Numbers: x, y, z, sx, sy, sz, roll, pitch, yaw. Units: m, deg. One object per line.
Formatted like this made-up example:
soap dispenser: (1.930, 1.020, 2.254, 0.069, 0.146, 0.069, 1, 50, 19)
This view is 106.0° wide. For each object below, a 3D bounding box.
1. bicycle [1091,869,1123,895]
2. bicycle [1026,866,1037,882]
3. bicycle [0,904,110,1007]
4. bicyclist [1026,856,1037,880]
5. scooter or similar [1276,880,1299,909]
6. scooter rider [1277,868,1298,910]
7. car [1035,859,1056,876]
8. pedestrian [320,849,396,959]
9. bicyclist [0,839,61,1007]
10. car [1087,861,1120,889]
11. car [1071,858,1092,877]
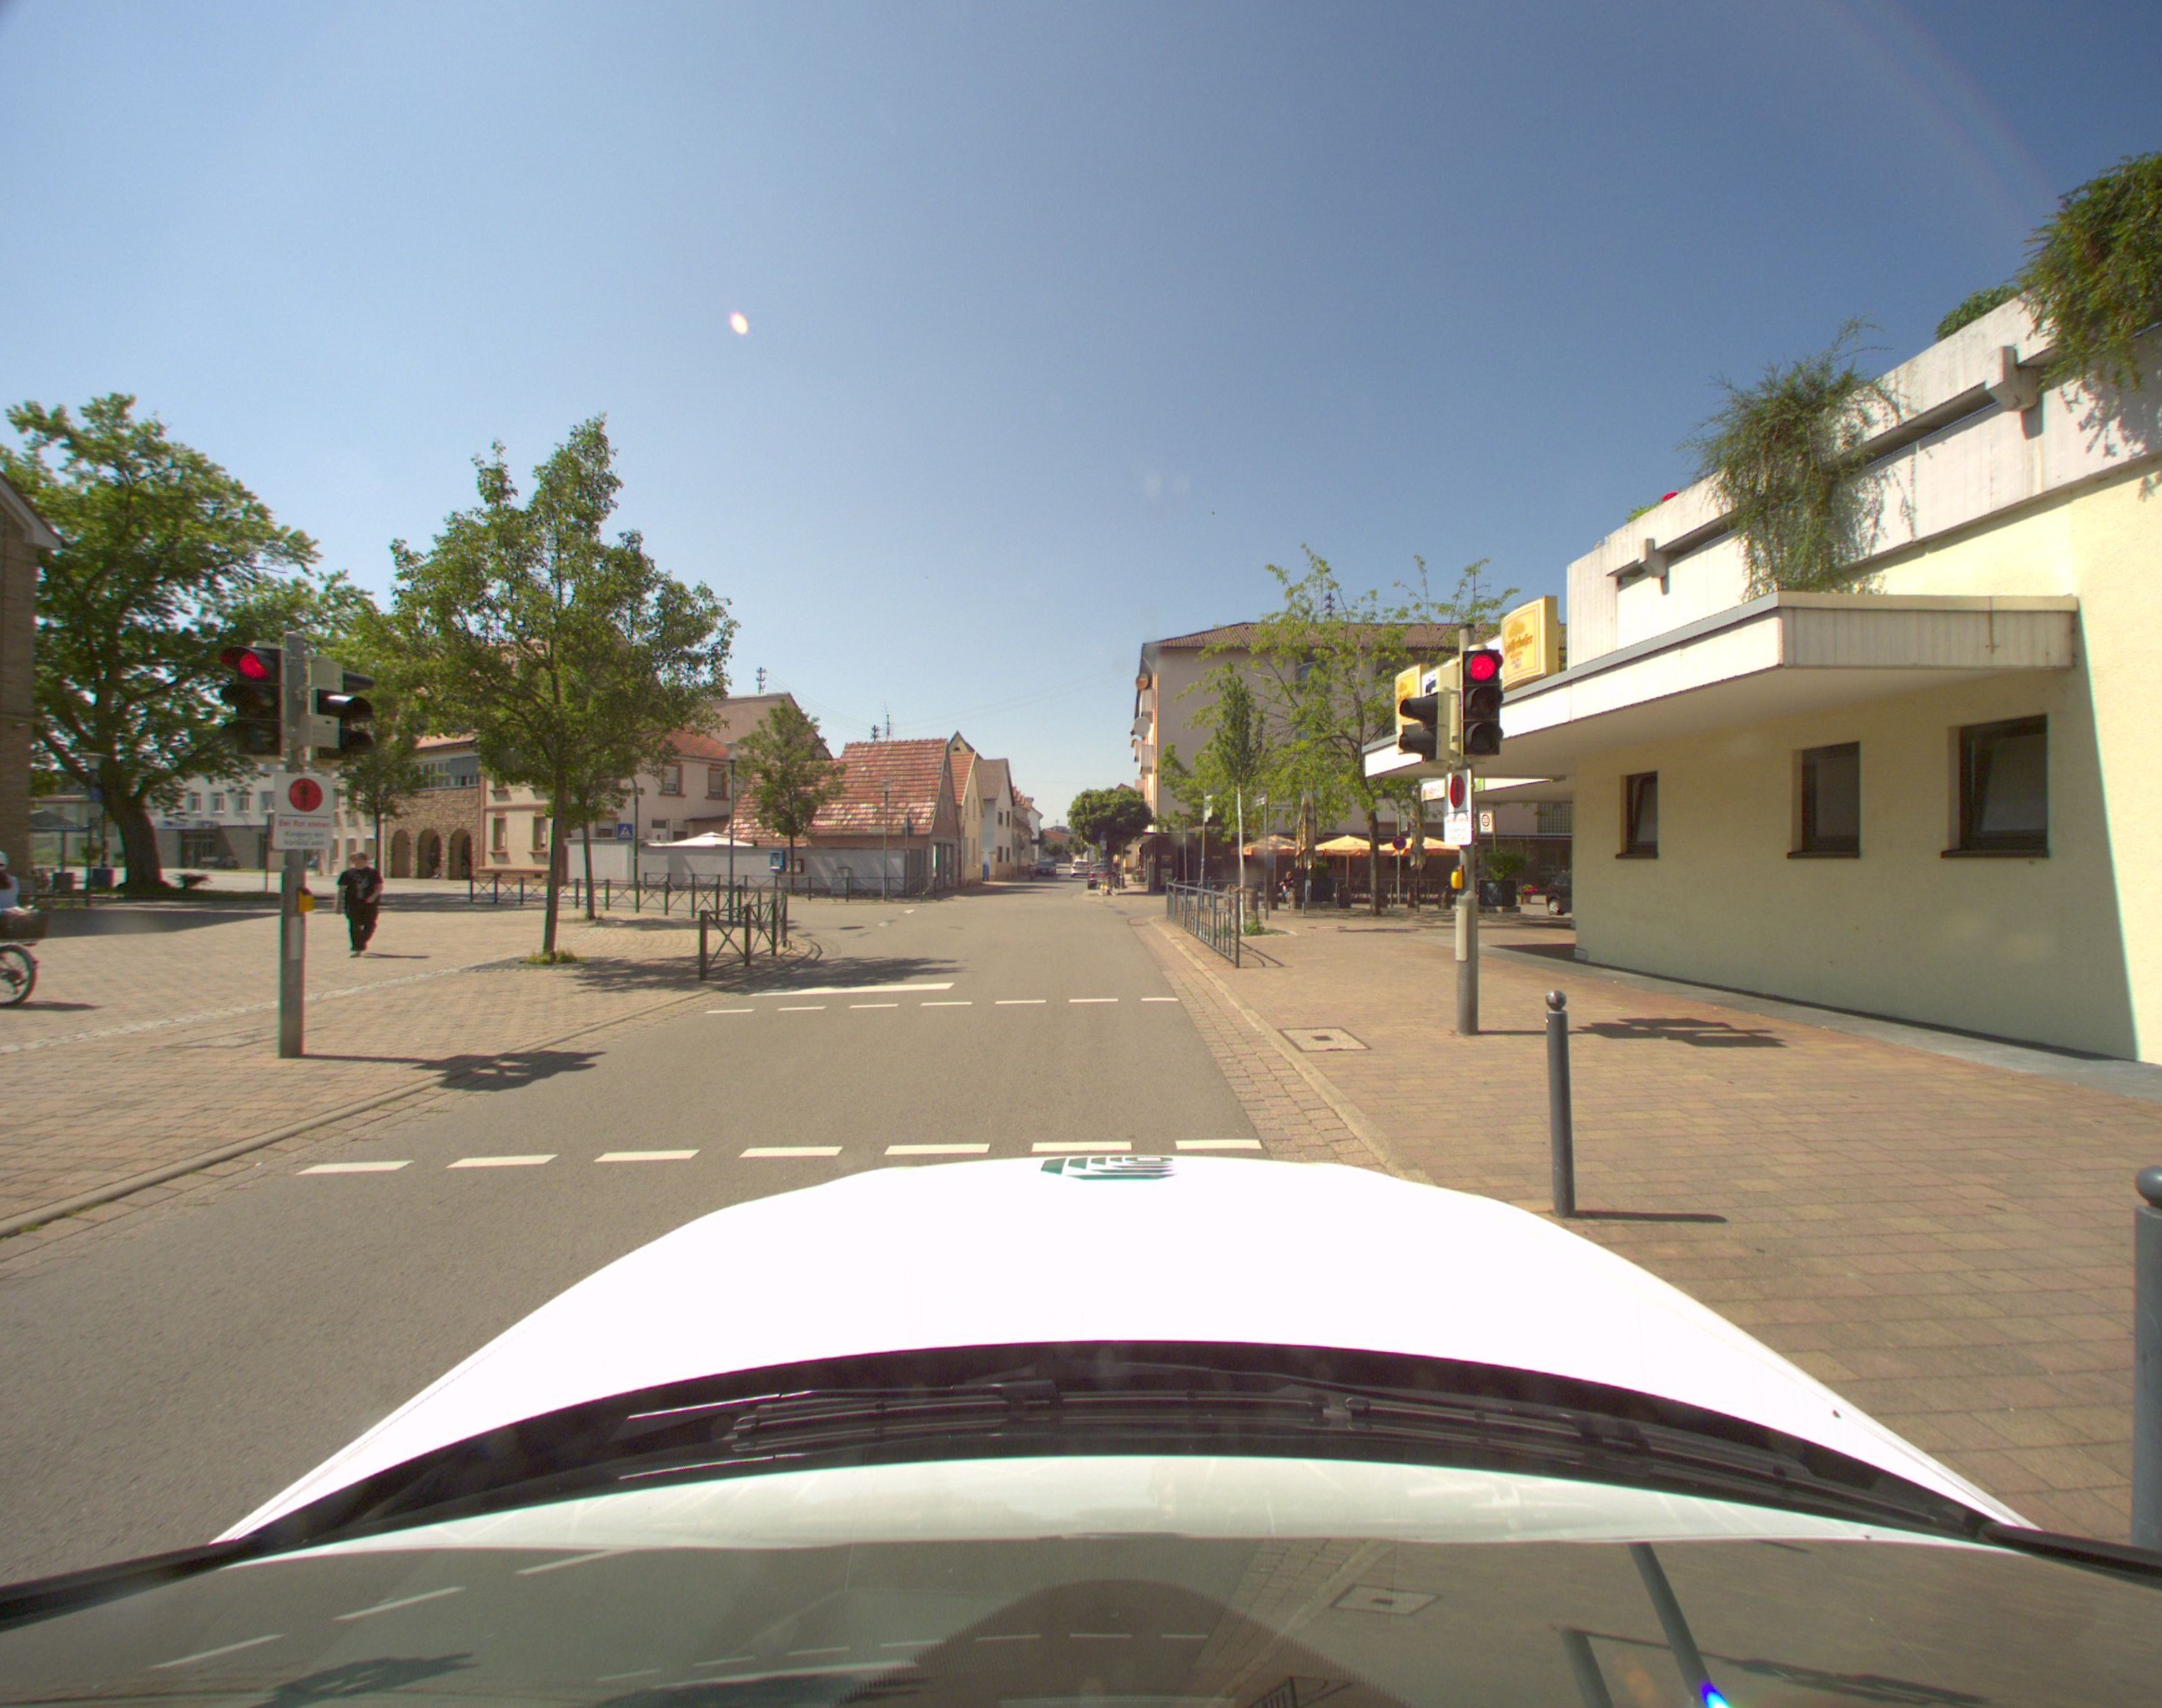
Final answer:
bicycle: (1.236, 1.311, 38.734, 0.530, 1.193, 1.655, 1, -1, -42)
bicycle: (-3.567, 1.416, 58.837, 0.671, 1.094, 1.896, -1, -1, 2)
bicycle: (-11.193, 1.035, 8.237, 1.884, 0.958, 0.676, -2, 0, -1)
bicyclist: (-3.565, 0.994, 58.807, 0.666, 1.691, 0.762, -1, -1, 1)
scooter or similar: (6.504, 1.267, 25.669, 0.378, 0.873, 0.887, 0, -1, -8)
scooter rider: (6.508, 1.100, 25.703, 0.516, 1.286, 0.417, 0, -1, -9)
car: (-3.378, 1.288, 78.457, 1.707, 1.517, 3.789, 0, -1, 3)
pedestrian: (-11.349, 0.758, 12.819, 0.818, 1.655, 0.841, 2, -2, -40)
bicyclist: (-11.132, 0.696, 8.236, 0.756, 1.664, 0.671, -2, 0, 0)
car: (1.349, 1.181, 47.512, 1.797, 1.501, 4.003, 0, 0, 3)
car: (0.058, 1.216, 73.727, 1.827, 1.652, 4.001, 0, -1, 2)
